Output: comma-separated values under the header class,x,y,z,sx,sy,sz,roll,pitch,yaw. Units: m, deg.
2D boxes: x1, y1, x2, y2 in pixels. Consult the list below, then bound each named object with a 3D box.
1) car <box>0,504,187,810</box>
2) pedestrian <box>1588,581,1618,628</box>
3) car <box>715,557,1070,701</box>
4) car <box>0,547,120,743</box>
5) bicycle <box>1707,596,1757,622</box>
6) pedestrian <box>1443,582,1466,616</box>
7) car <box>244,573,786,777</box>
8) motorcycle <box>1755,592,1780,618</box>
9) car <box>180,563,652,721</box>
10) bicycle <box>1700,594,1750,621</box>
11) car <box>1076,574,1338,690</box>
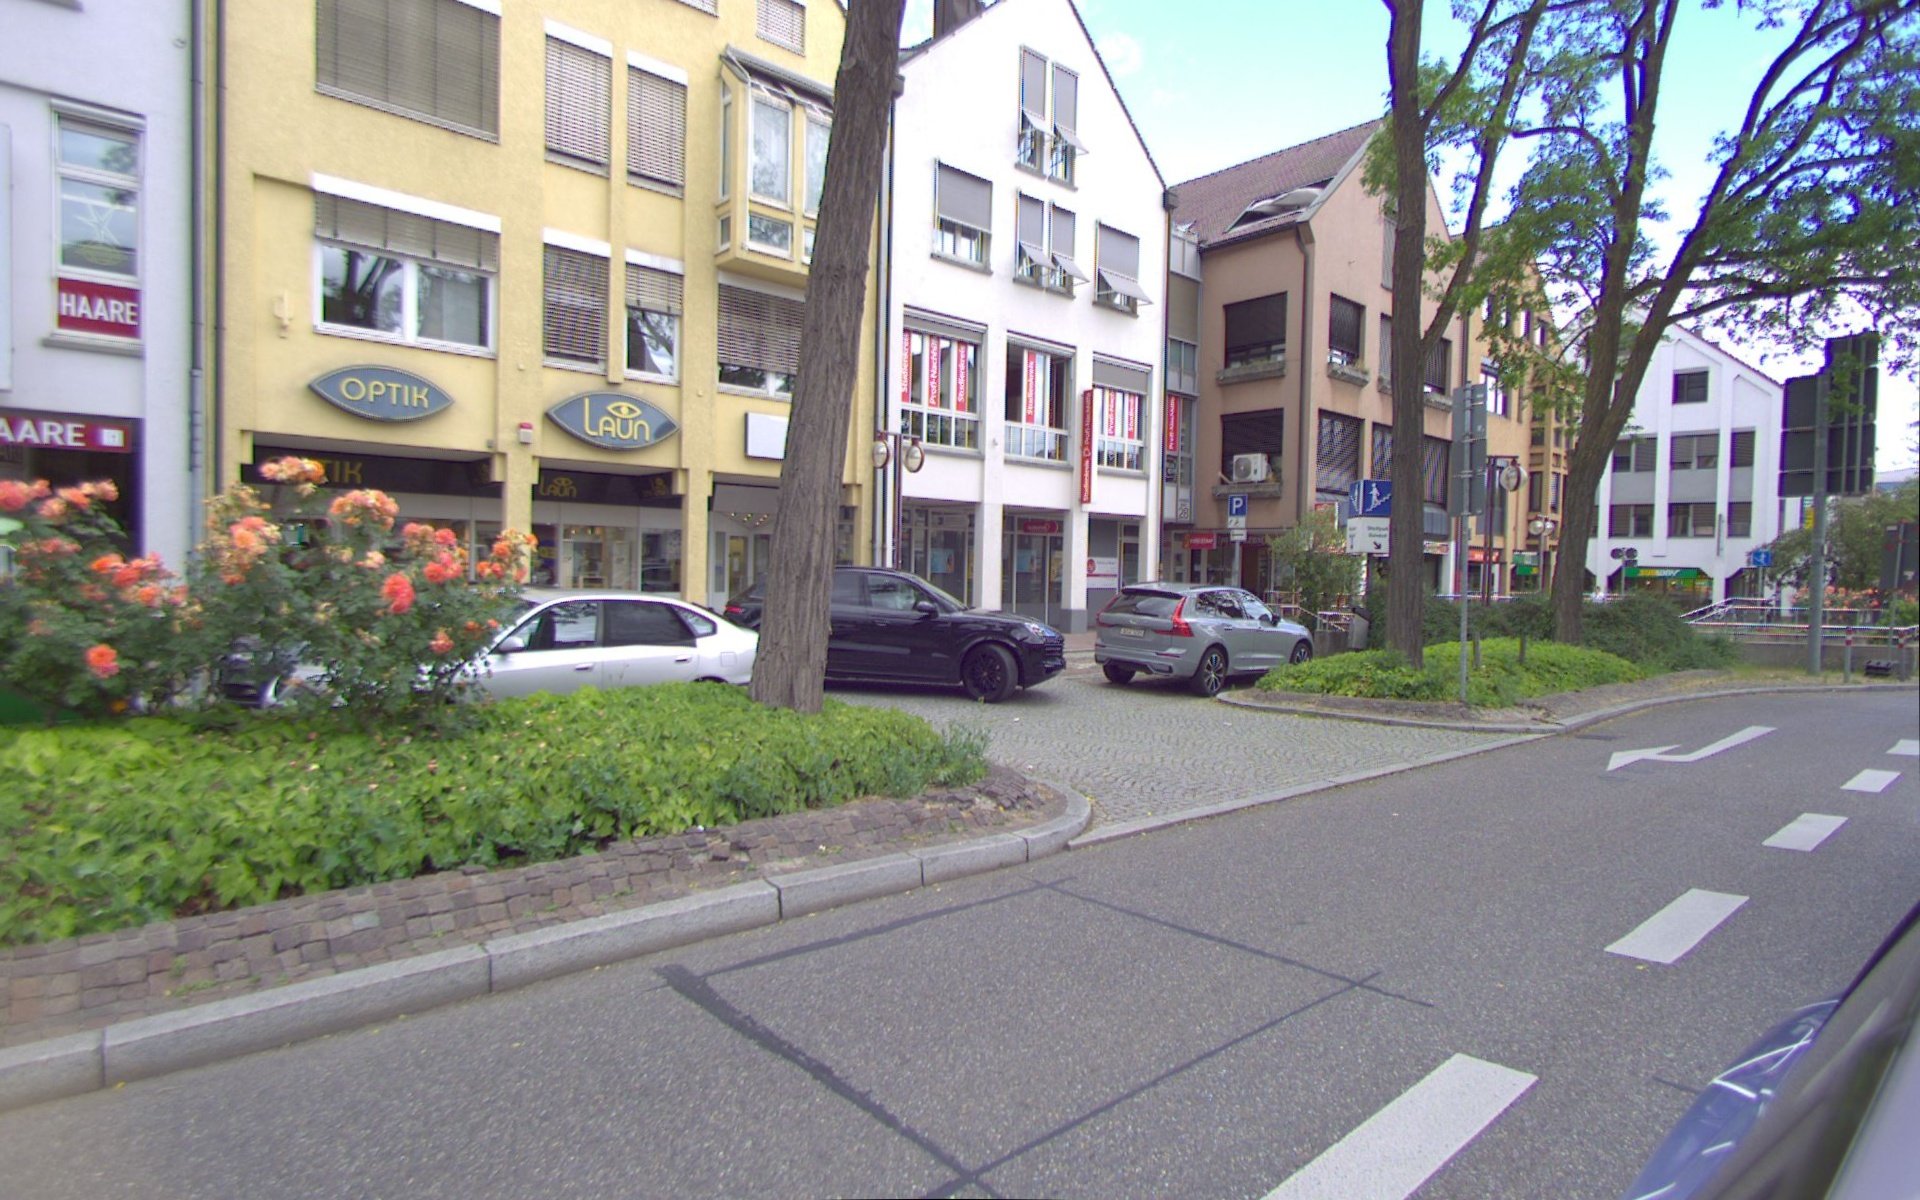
class,x,y,z,sx,sy,sz,roll,pitch,yaw
car,-7.547,0.307,6.029,4.528,1.899,1.883,0,3,-43
pedestrian,25.906,0.165,40.757,0.772,1.846,0.869,0,0,-45
car,-0.863,0.337,14.049,4.578,1.690,1.858,2,2,3
car,-9.430,0.336,7.921,4.320,1.561,1.799,0,3,-43
bicycle,31.349,0.356,41.120,1.583,0.981,0.455,2,1,36
pedestrian,26.245,-0.079,53.726,0.882,1.779,0.931,2,1,38
car,-3.970,0.527,9.527,4.344,1.468,1.765,0,2,-43
motorcycle,35.049,0.201,43.924,1.961,1.081,0.464,0,1,-41
car,-5.976,0.351,11.429,4.344,1.393,2.000,0,3,-43
bicycle,30.814,0.309,40.773,1.584,1.014,0.409,2,1,37
car,4.198,0.434,16.722,4.685,1.615,1.995,0,2,-44
